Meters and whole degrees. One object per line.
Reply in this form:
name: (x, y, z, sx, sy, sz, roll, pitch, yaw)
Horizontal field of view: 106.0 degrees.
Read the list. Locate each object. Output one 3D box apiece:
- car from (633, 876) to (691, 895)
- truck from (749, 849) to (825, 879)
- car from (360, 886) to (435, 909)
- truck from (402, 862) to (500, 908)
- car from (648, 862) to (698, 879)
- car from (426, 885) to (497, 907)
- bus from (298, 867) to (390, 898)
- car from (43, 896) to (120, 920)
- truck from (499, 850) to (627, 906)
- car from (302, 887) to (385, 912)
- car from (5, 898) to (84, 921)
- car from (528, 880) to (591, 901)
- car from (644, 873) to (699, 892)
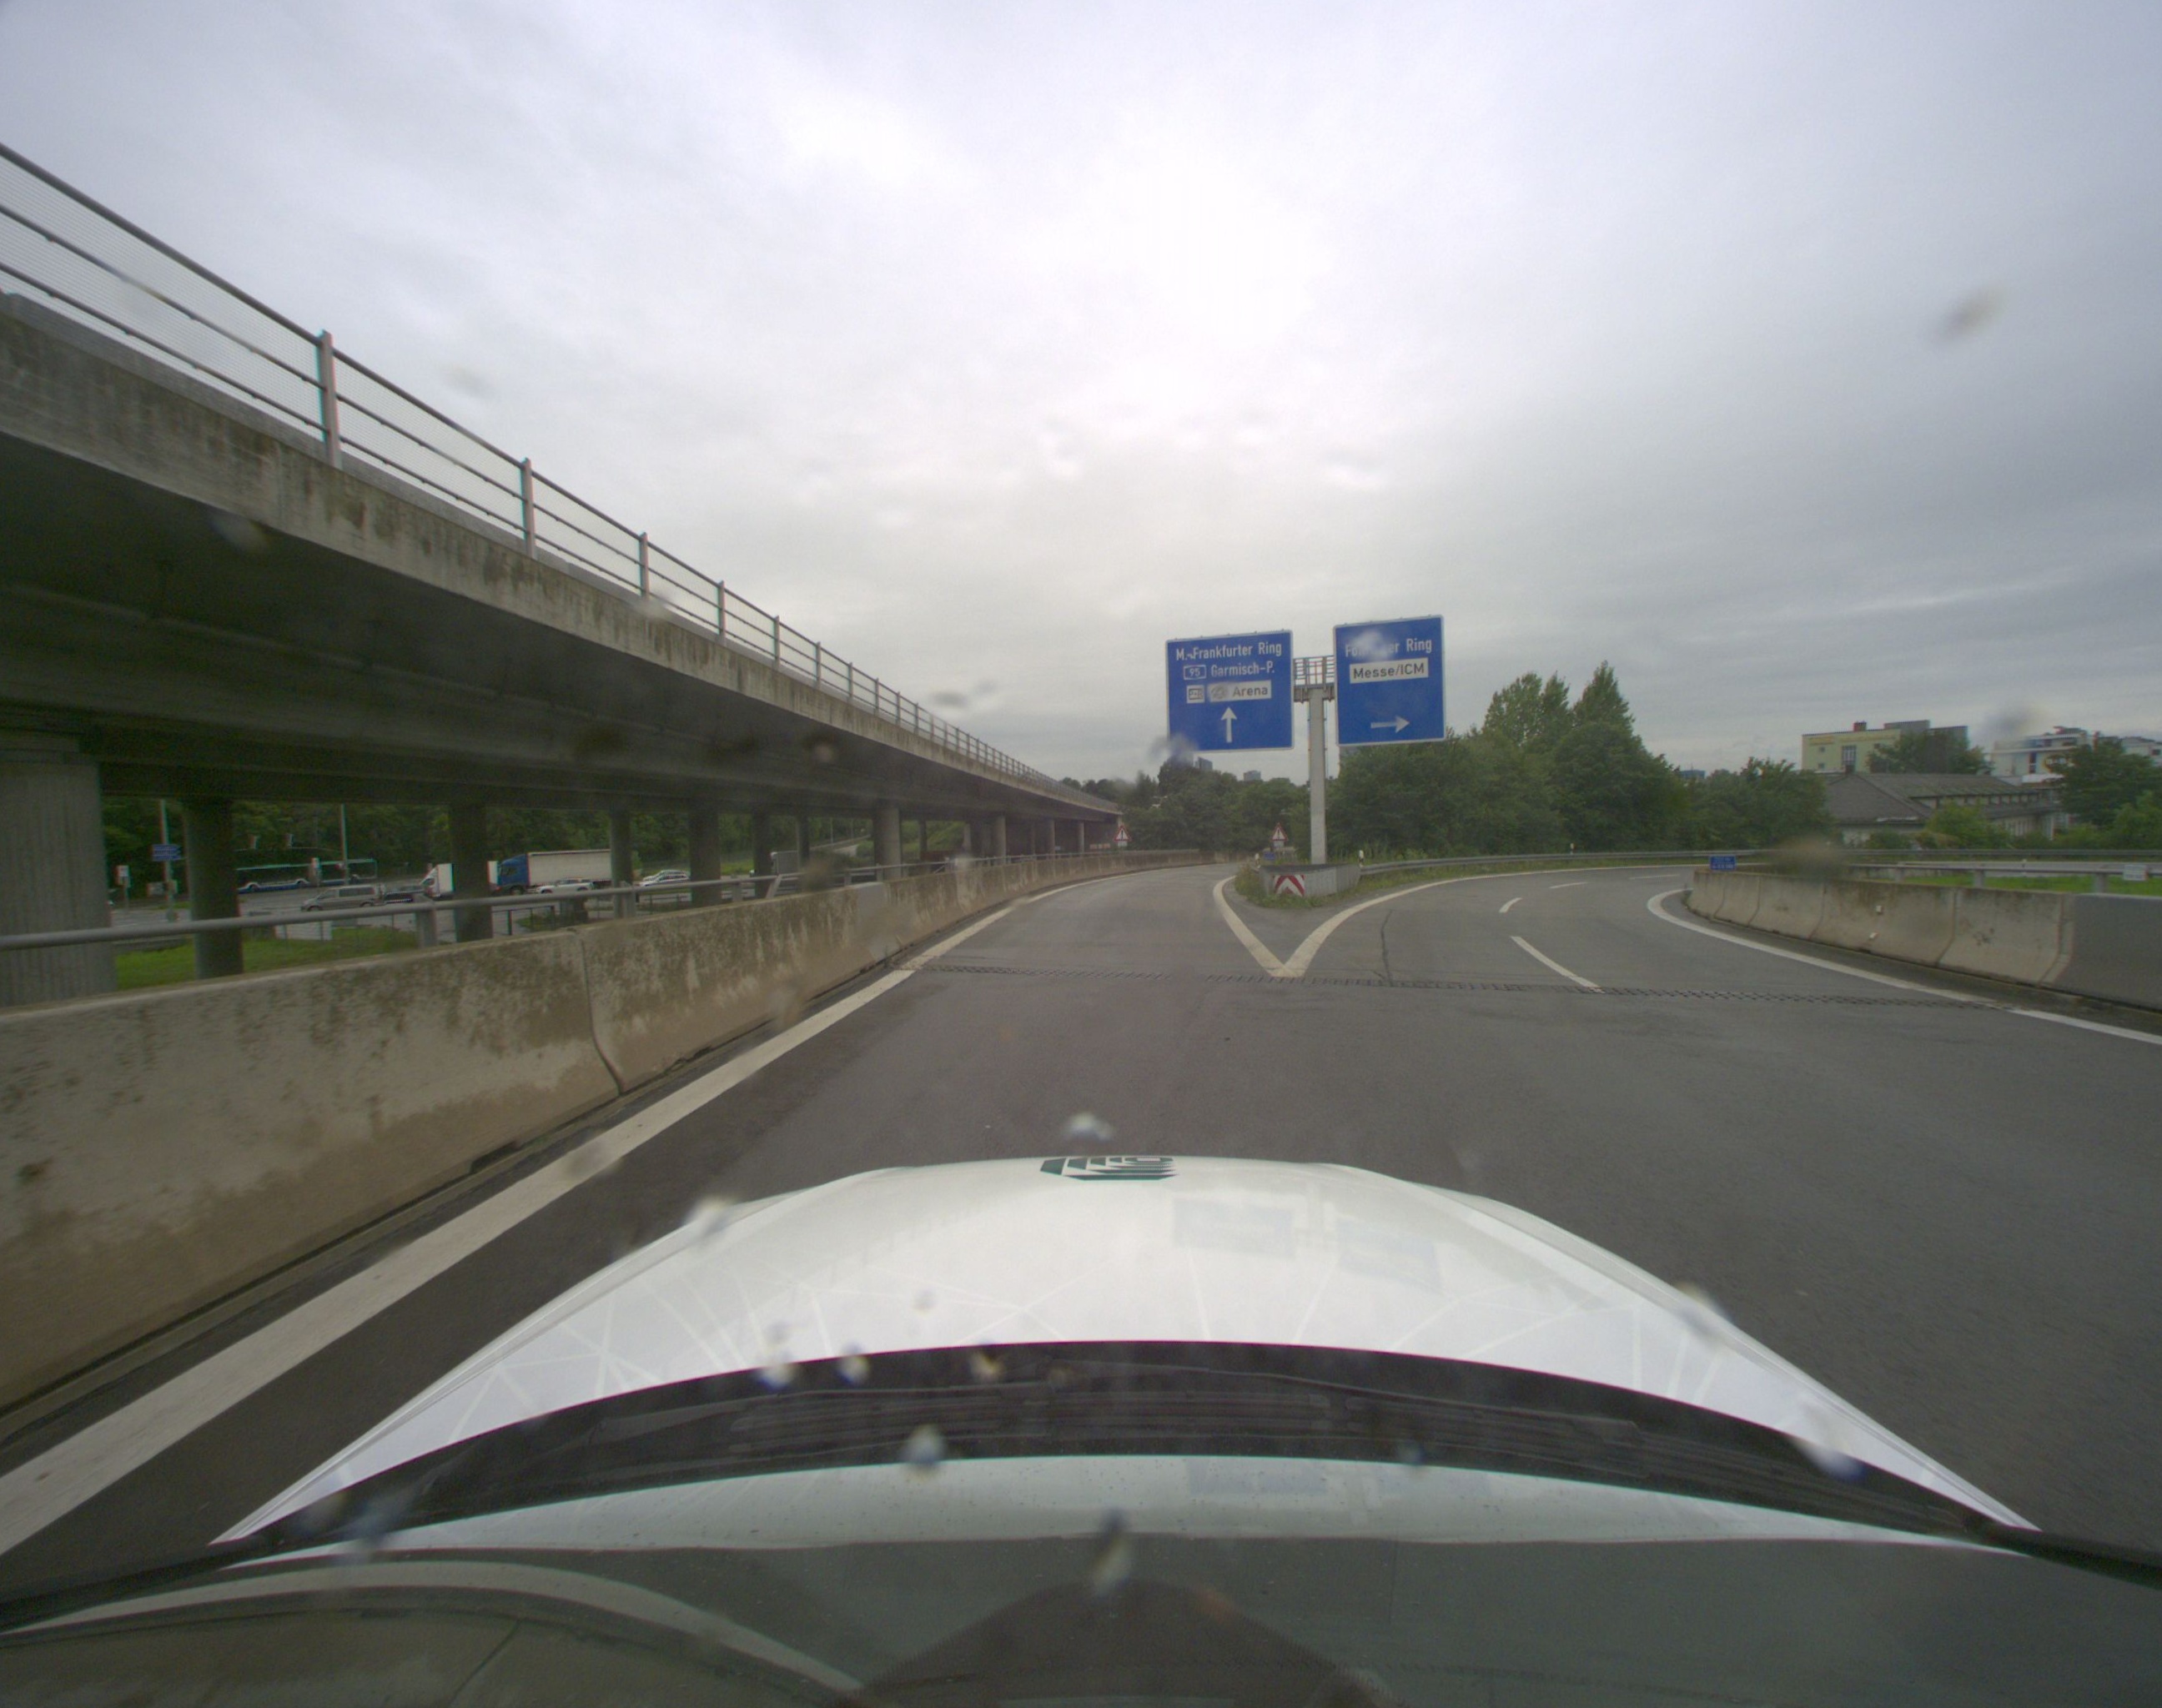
car: (-39.503, 2.945, 76.843, 4.611, 1.583, 1.954, -2, 0, -36)
truck: (-30.975, 0.989, 85.899, 7.257, 2.977, 2.238, -1, -1, -32)
car: (-57.234, 3.655, 68.324, 4.611, 1.606, 1.954, -2, 0, -36)
truck: (-56.410, 2.715, 73.161, 6.670, 3.679, 2.770, -2, 0, -34)
car: (-42.939, 1.693, 85.728, 4.607, 1.583, 1.955, -2, 0, -32)
car: (-51.868, 3.517, 68.307, 4.610, 1.583, 1.954, -1, -1, -35)
bus: (-94.201, 3.590, 104.434, 2.214, 3.701, 9.924, 0, 0, 5)
car: (-87.579, 4.695, 71.422, 1.789, 1.705, 3.995, -3, 1, -4)
truck: (-47.505, 2.098, 74.945, 9.639, 4.591, 2.770, -2, 0, -34)
car: (-58.023, 3.556, 64.154, 4.611, 1.606, 1.954, -2, 0, -36)
car: (-90.948, 4.826, 71.526, 1.789, 1.562, 3.995, -3, 1, -4)
car: (-46.260, 3.182, 72.284, 4.611, 1.583, 1.954, -2, 0, -36)
car: (-40.174, 2.745, 79.879, 4.609, 1.583, 1.955, -2, 0, -33)
